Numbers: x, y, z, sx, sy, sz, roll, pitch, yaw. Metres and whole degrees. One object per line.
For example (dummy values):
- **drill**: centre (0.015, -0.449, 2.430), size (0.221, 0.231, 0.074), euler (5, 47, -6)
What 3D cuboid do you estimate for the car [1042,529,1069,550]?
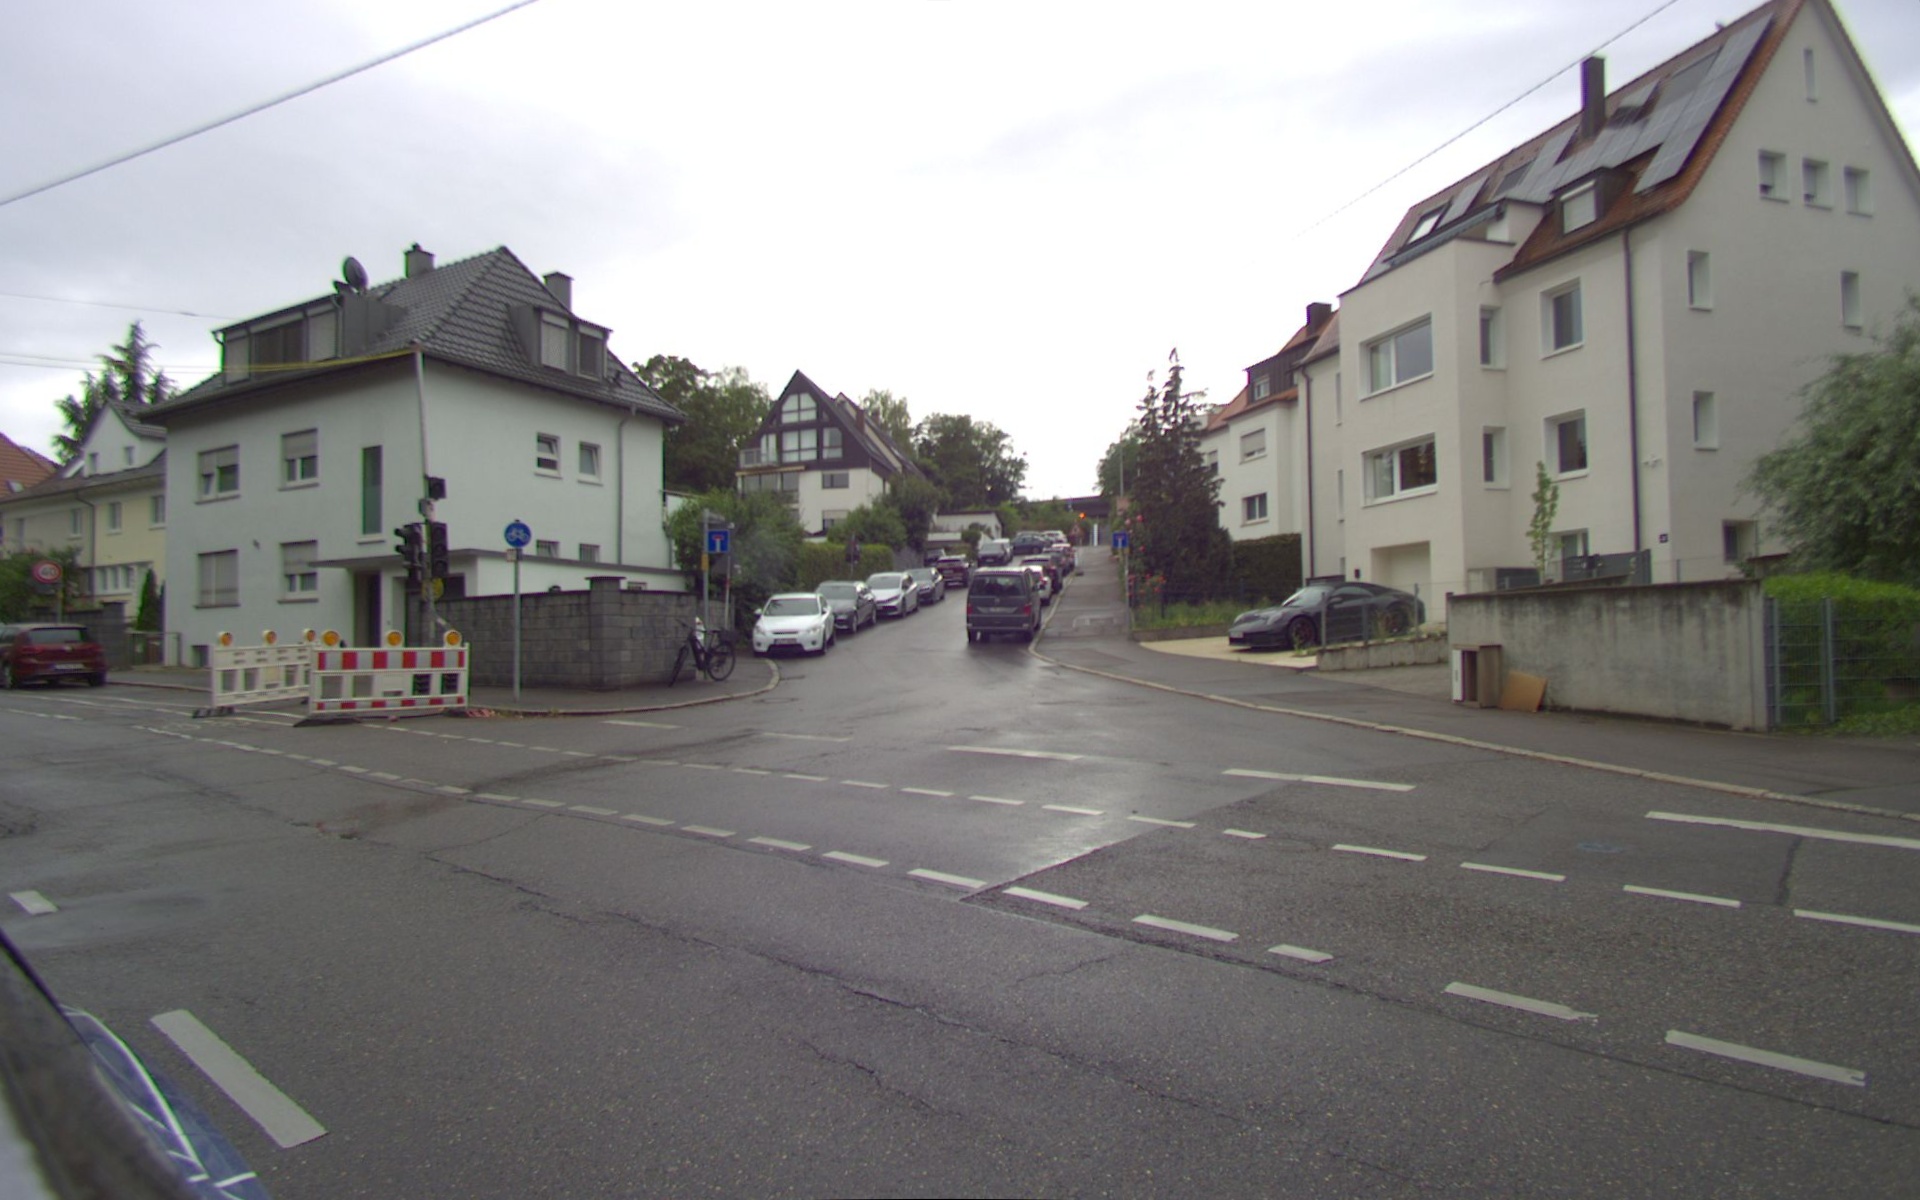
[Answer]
- **car**: centre (9.908, -6.189, 104.555), size (1.983, 2.028, 3.977), euler (0, 2, 18)

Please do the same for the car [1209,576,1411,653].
- **car**: centre (7.536, 0.302, 21.885), size (3.754, 1.519, 1.740), euler (-1, 0, -16)

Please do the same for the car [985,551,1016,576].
- **car**: centre (2.981, -2.666, 74.105), size (1.869, 1.733, 3.991), euler (0, 2, 8)

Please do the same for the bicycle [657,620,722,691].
- **bicycle**: centre (-4.802, 0.964, 18.071), size (0.459, 1.132, 1.512), euler (0, 1, 13)

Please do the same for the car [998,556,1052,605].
- **car**: centre (2.627, -0.826, 40.098), size (1.847, 1.758, 3.992), euler (0, 4, 8)

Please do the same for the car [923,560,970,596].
- **car**: centre (-0.664, -1.138, 52.078), size (1.869, 1.733, 3.991), euler (1, 1, 8)

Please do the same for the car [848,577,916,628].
- **car**: centre (-2.792, 0.049, 36.901), size (1.867, 1.733, 3.994), euler (0, 2, 5)

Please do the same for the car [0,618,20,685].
- **car**: centre (-26.090, 1.318, 25.623), size (4.378, 1.671, 1.745), euler (-1, -3, 24)

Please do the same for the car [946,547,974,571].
- **car**: centre (-0.032, -2.998, 74.177), size (1.863, 1.733, 4.003), euler (0, 2, -3)

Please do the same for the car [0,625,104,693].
- **car**: centre (-21.639, 1.334, 23.314), size (4.213, 1.451, 1.605), euler (-2, -2, 30)

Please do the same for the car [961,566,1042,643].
- **car**: centre (1.274, 0.049, 29.060), size (1.976, 1.933, 3.992), euler (0, 4, 8)

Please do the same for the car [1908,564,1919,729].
- **car**: centre (10.598, 0.356, 8.545), size (3.933, 1.454, 1.844), euler (-1, -1, -13)

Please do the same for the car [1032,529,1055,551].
- **car**: centre (8.088, -5.793, 98.160), size (1.977, 2.028, 3.989), euler (0, 2, 9)

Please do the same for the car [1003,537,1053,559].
- **car**: centre (5.652, -4.304, 83.736), size (3.956, 1.733, 1.886), euler (0, 1, 10)

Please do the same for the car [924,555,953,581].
- **car**: centre (-1.484, -2.133, 68.258), size (1.863, 1.733, 4.003), euler (0, 1, -3)

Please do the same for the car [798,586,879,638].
- **car**: centre (-3.738, 0.319, 31.806), size (1.867, 1.477, 3.996), euler (0, 2, 3)

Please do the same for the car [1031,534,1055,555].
- **car**: centre (7.218, -4.832, 88.076), size (1.869, 1.733, 3.991), euler (0, 2, 8)

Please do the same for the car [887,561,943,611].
- **car**: centre (-1.862, -0.624, 42.756), size (1.867, 2.007, 3.994), euler (0, 2, 5)

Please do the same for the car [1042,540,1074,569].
- **car**: centre (6.122, -2.851, 62.948), size (1.847, 1.758, 3.992), euler (0, 4, 8)

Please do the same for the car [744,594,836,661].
- **car**: centre (-4.274, 0.641, 25.998), size (1.863, 1.477, 4.003), euler (0, 2, -3)

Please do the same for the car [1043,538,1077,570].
- **car**: centre (5.819, -2.660, 58.467), size (1.847, 1.758, 3.992), euler (0, 4, 8)

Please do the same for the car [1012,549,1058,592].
- **car**: centre (3.419, -1.365, 45.379), size (1.847, 1.758, 3.992), euler (0, 4, 8)

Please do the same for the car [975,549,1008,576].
- **car**: centre (2.137, -2.498, 67.988), size (1.869, 1.733, 3.991), euler (0, 2, 8)
